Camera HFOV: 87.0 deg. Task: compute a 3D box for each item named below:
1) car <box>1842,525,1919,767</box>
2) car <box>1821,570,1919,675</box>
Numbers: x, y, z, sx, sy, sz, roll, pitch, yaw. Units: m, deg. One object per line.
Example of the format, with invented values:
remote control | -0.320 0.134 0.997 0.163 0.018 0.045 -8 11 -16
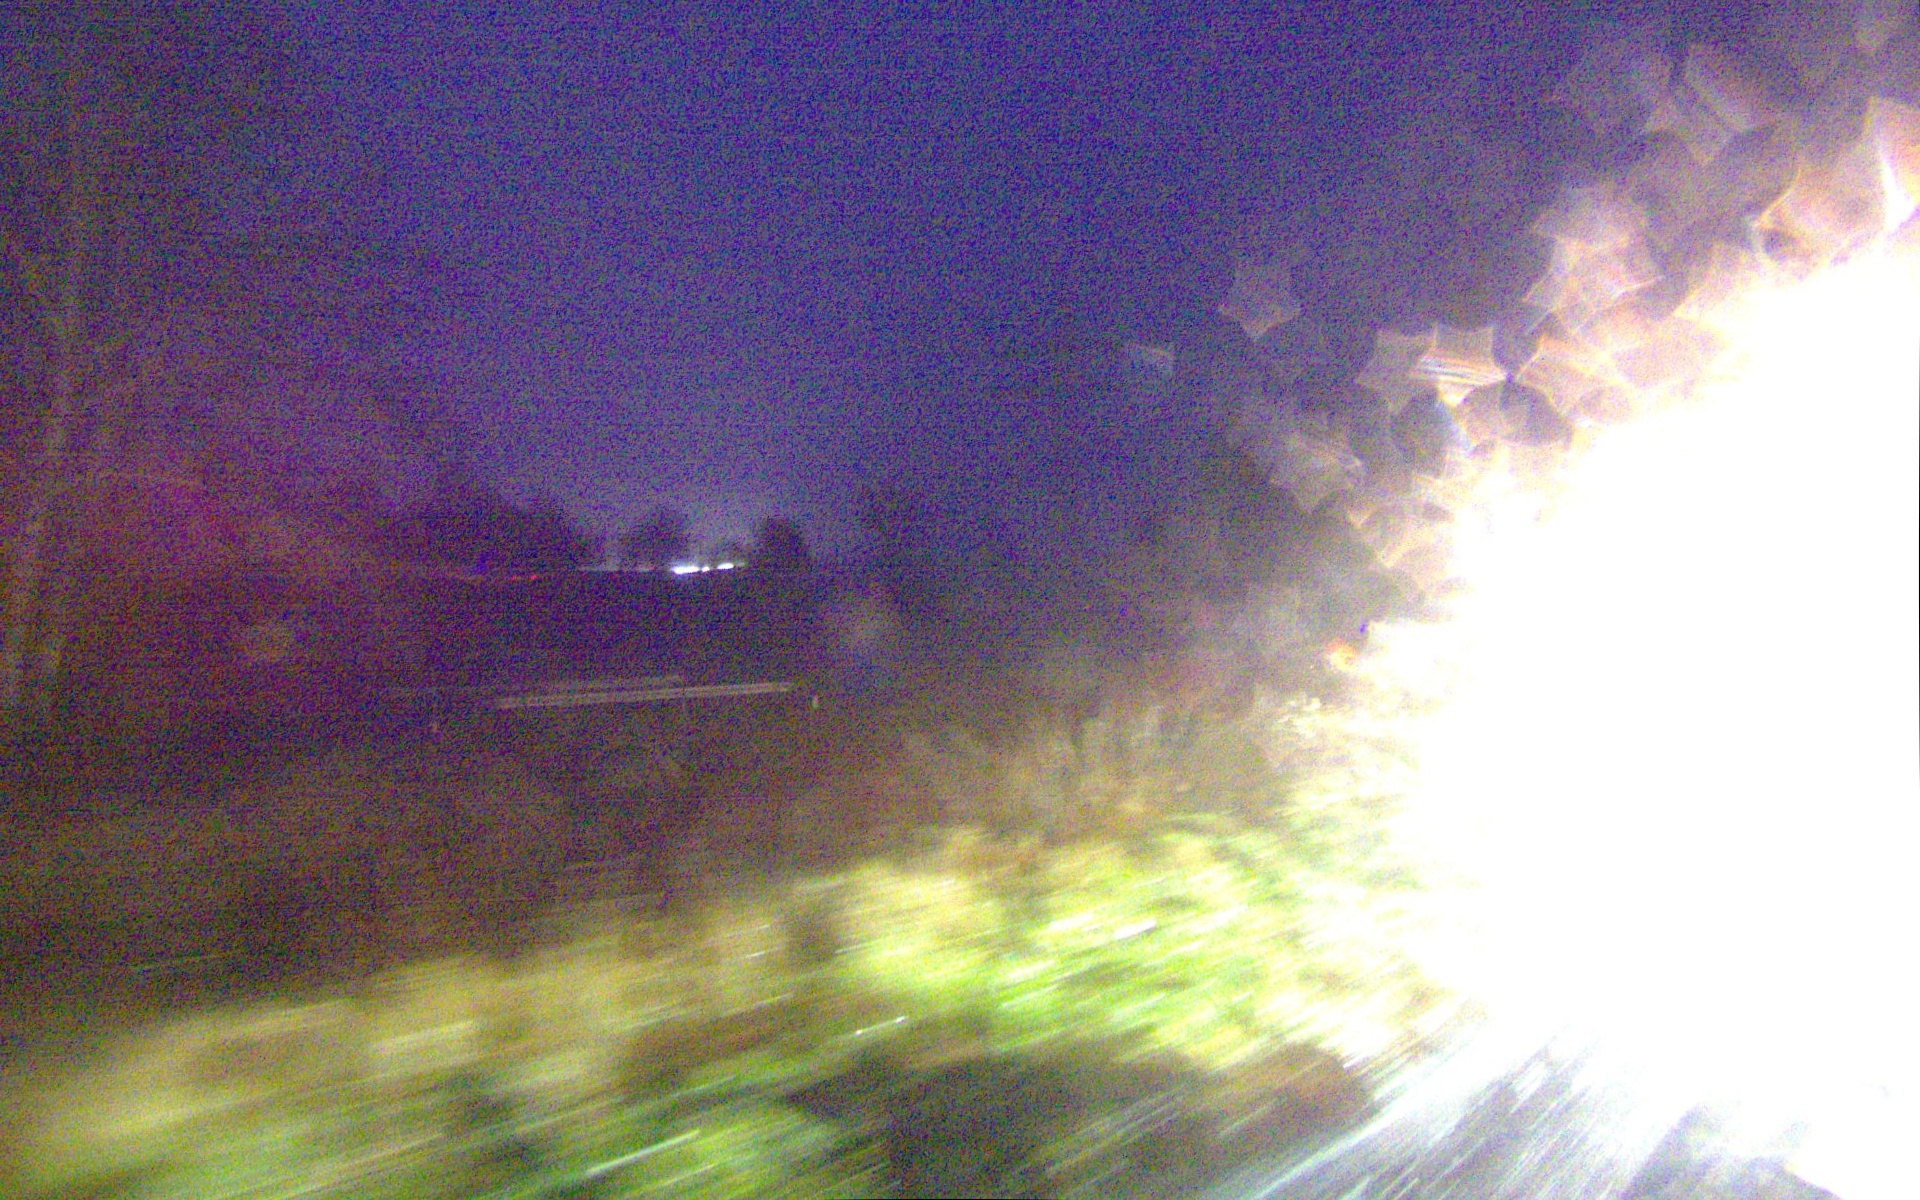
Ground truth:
car | 9.600 0.314 9.312 1.998 1.949 4.300 0 1 44
car | 15.320 0.360 16.556 1.679 1.552 3.932 -2 -2 38
